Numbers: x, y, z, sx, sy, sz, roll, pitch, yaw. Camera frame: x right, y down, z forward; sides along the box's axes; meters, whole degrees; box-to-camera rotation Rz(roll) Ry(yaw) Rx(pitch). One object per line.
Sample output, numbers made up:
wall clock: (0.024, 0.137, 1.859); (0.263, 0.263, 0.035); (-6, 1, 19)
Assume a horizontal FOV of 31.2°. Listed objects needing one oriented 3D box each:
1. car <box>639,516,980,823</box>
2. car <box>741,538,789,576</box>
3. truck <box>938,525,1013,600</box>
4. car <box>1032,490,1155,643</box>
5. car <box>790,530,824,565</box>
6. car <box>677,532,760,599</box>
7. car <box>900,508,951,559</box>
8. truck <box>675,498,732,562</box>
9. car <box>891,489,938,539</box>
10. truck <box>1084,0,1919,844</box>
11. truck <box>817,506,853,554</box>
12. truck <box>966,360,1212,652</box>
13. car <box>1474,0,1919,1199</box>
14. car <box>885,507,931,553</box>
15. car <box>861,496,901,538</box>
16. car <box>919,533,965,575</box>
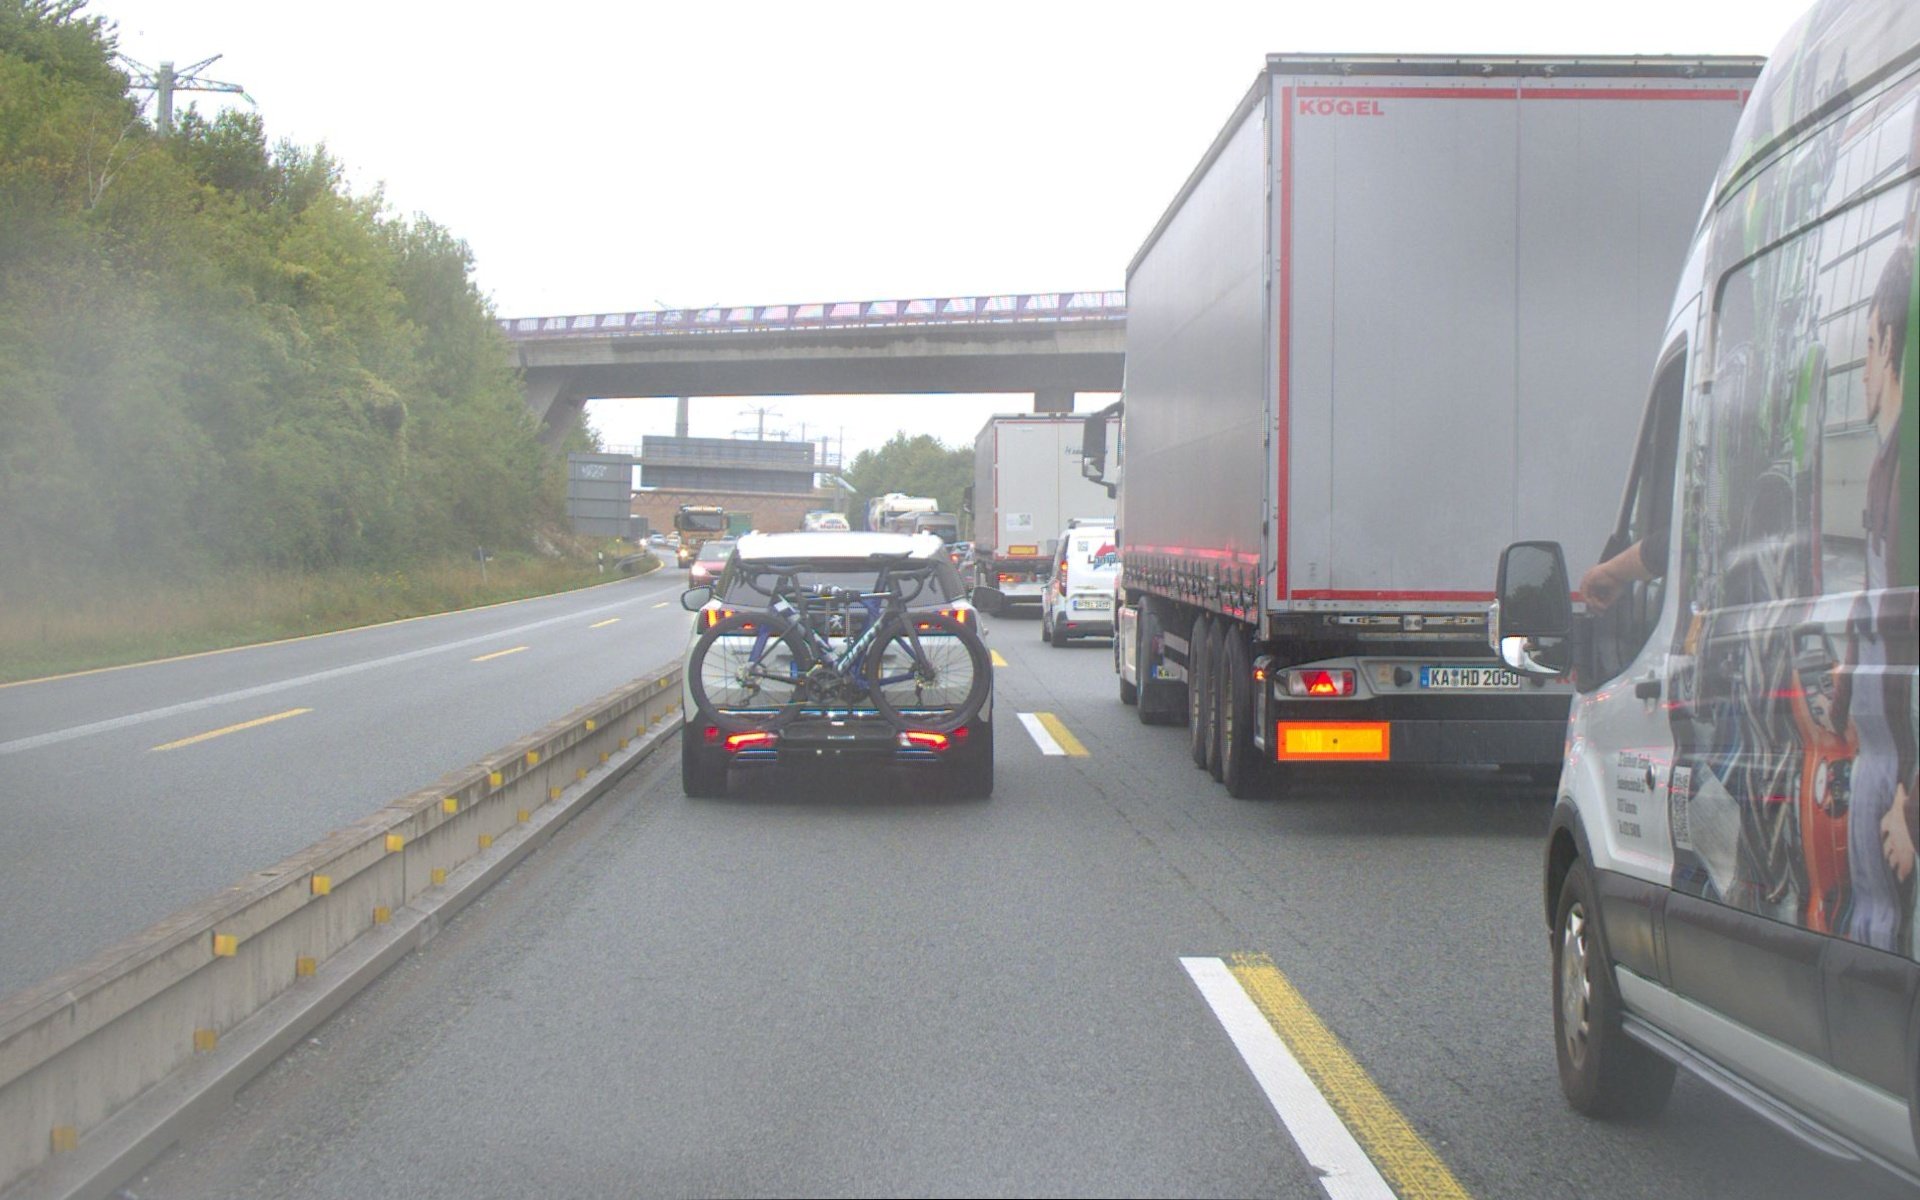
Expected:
car: (-0.794, 0.348, 20.753); (1.810, 1.632, 4.635); (1, 1, 0)
car: (-8.509, -1.898, 150.500); (1.810, 1.627, 4.118); (1, 1, 0)
truck: (0.404, -1.047, 95.089); (1.993, 2.007, 4.000); (1, 1, -1)
car: (1.947, -0.502, 51.214); (1.670, 2.173, 4.535); (1, 1, 0)
car: (-8.252, -2.833, 185.504); (1.810, 1.817, 4.636); (1, 1, -2)
car: (-6.021, -0.872, 86.052); (1.794, 1.550, 4.000); (3, 1, -1)
car: (-1.390, -2.653, 138.516); (1.993, 2.007, 4.000); (1, 1, -1)
truck: (-13.970, -3.770, 188.172); (2.535, 3.341, 12.051); (1, 1, -2)
car: (-2.179, -4.121, 165.318); (2.239, 2.299, 4.572); (1, 1, -1)
truck: (3.279, -1.755, 27.026); (3.979, 5.654, 20.376); (1, 1, 0)
truck: (-9.025, -5.027, 249.082); (2.535, 3.341, 12.051); (1, 1, -2)
truck: (2.591, -1.942, 77.181); (4.743, 5.654, 20.376); (1, 1, 0)
car: (2.567, 0.029, 6.989); (2.144, 2.667, 6.117); (1, 1, 0)
car: (-2.301, -3.094, 152.244); (1.993, 2.007, 4.000); (1, 1, -1)
car: (-4.092, -4.285, 177.759); (1.993, 2.119, 4.527); (1, 1, -1)
car: (-0.677, -1.680, 125.707); (1.638, 1.492, 3.666); (1, 1, -1)
